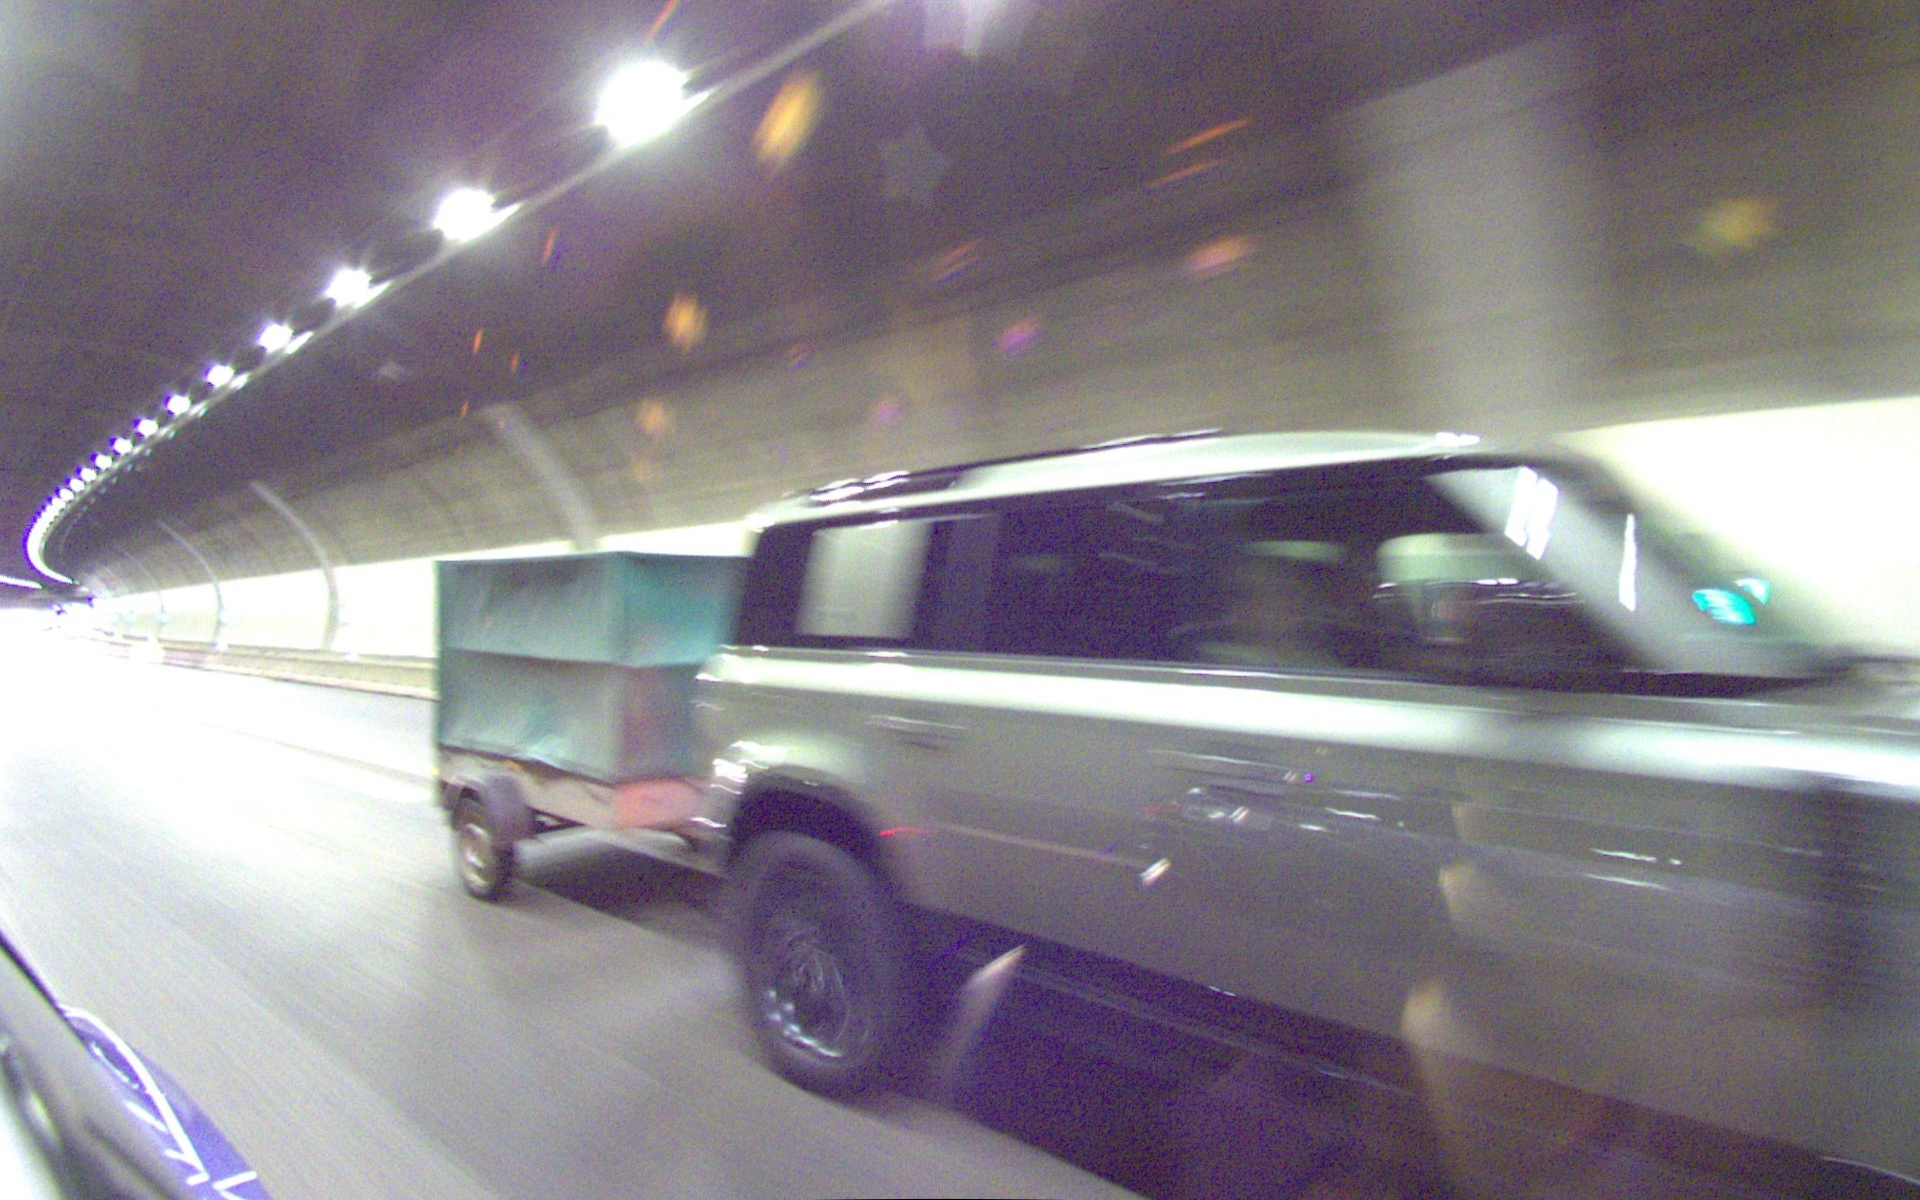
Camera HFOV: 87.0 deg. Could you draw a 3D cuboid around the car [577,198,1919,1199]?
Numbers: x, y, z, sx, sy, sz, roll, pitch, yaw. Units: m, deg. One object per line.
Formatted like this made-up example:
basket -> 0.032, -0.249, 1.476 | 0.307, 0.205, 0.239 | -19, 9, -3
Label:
car -> 1.313, 0.389, 2.692 | 5.450, 1.909, 1.973 | -1, 1, 41
